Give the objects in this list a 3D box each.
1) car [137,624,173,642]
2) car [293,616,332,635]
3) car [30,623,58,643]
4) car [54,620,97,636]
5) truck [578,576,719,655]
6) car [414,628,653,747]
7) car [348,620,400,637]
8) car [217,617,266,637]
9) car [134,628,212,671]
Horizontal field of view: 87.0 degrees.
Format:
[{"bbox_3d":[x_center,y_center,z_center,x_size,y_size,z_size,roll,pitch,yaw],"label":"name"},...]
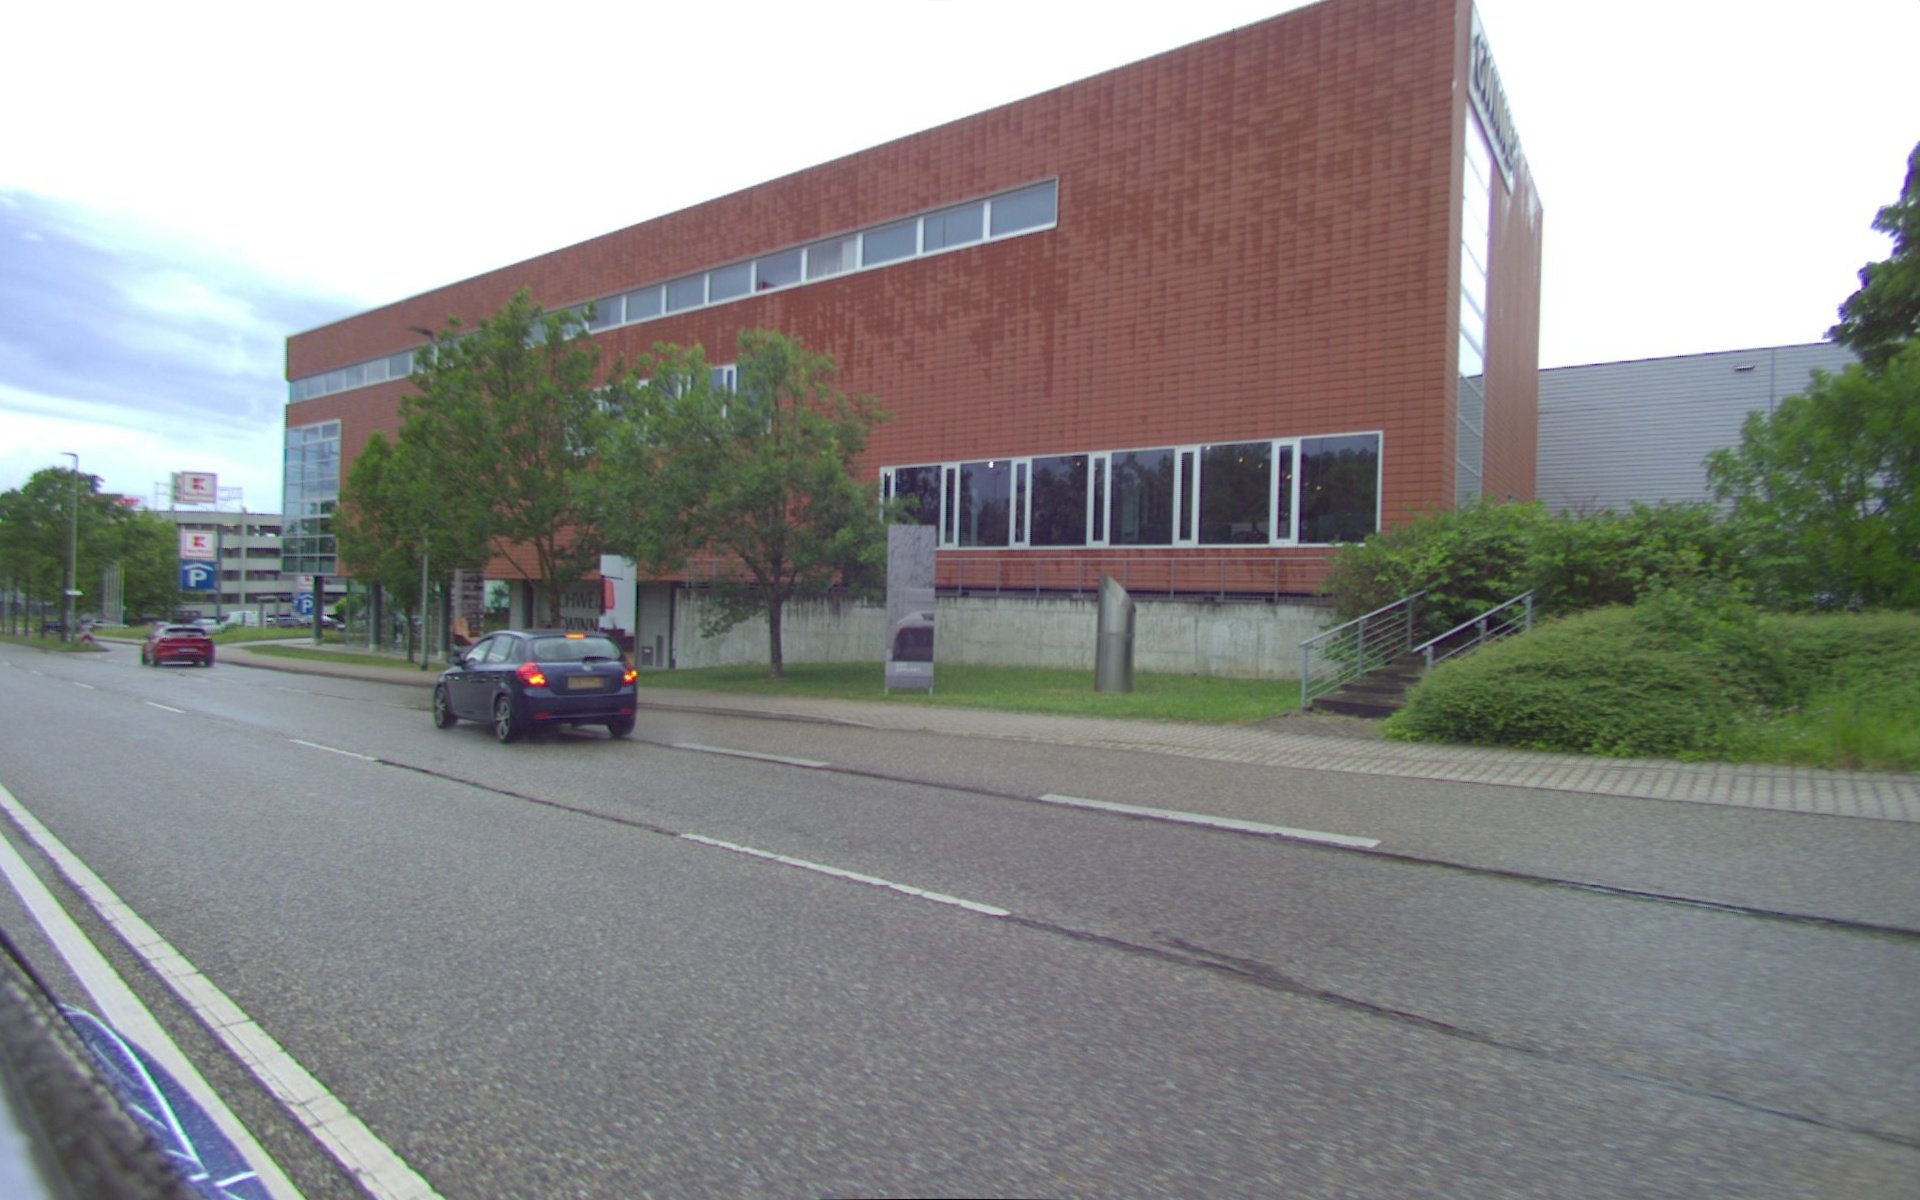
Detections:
[{"bbox_3d":[-75.643,3.088,95.101,4.059,1.630,1.810,-1,-2,39],"label":"car"},{"bbox_3d":[-46.969,1.843,73.404,3.449,1.293,1.490,0,0,42],"label":"car"},{"bbox_3d":[-79.947,2.870,88.317,1.806,1.630,4.004,-1,0,-43],"label":"car"},{"bbox_3d":[-102.078,3.247,116.823,1.822,1.864,4.006,0,-2,-7],"label":"car"},{"bbox_3d":[-13.969,0.732,45.858,2.020,3.333,6.080,0,-2,36],"label":"truck"},{"bbox_3d":[-6.195,1.157,14.482,4.002,1.465,1.717,-2,-4,45],"label":"car"},{"bbox_3d":[-56.338,2.738,97.361,1.833,1.630,4.007,-1,-2,41],"label":"car"},{"bbox_3d":[-59.230,2.205,83.414,4.428,1.630,1.813,-1,-2,35],"label":"car"},{"bbox_3d":[-29.108,1.803,37.397,4.217,1.518,1.657,-2,-3,44],"label":"car"}]
